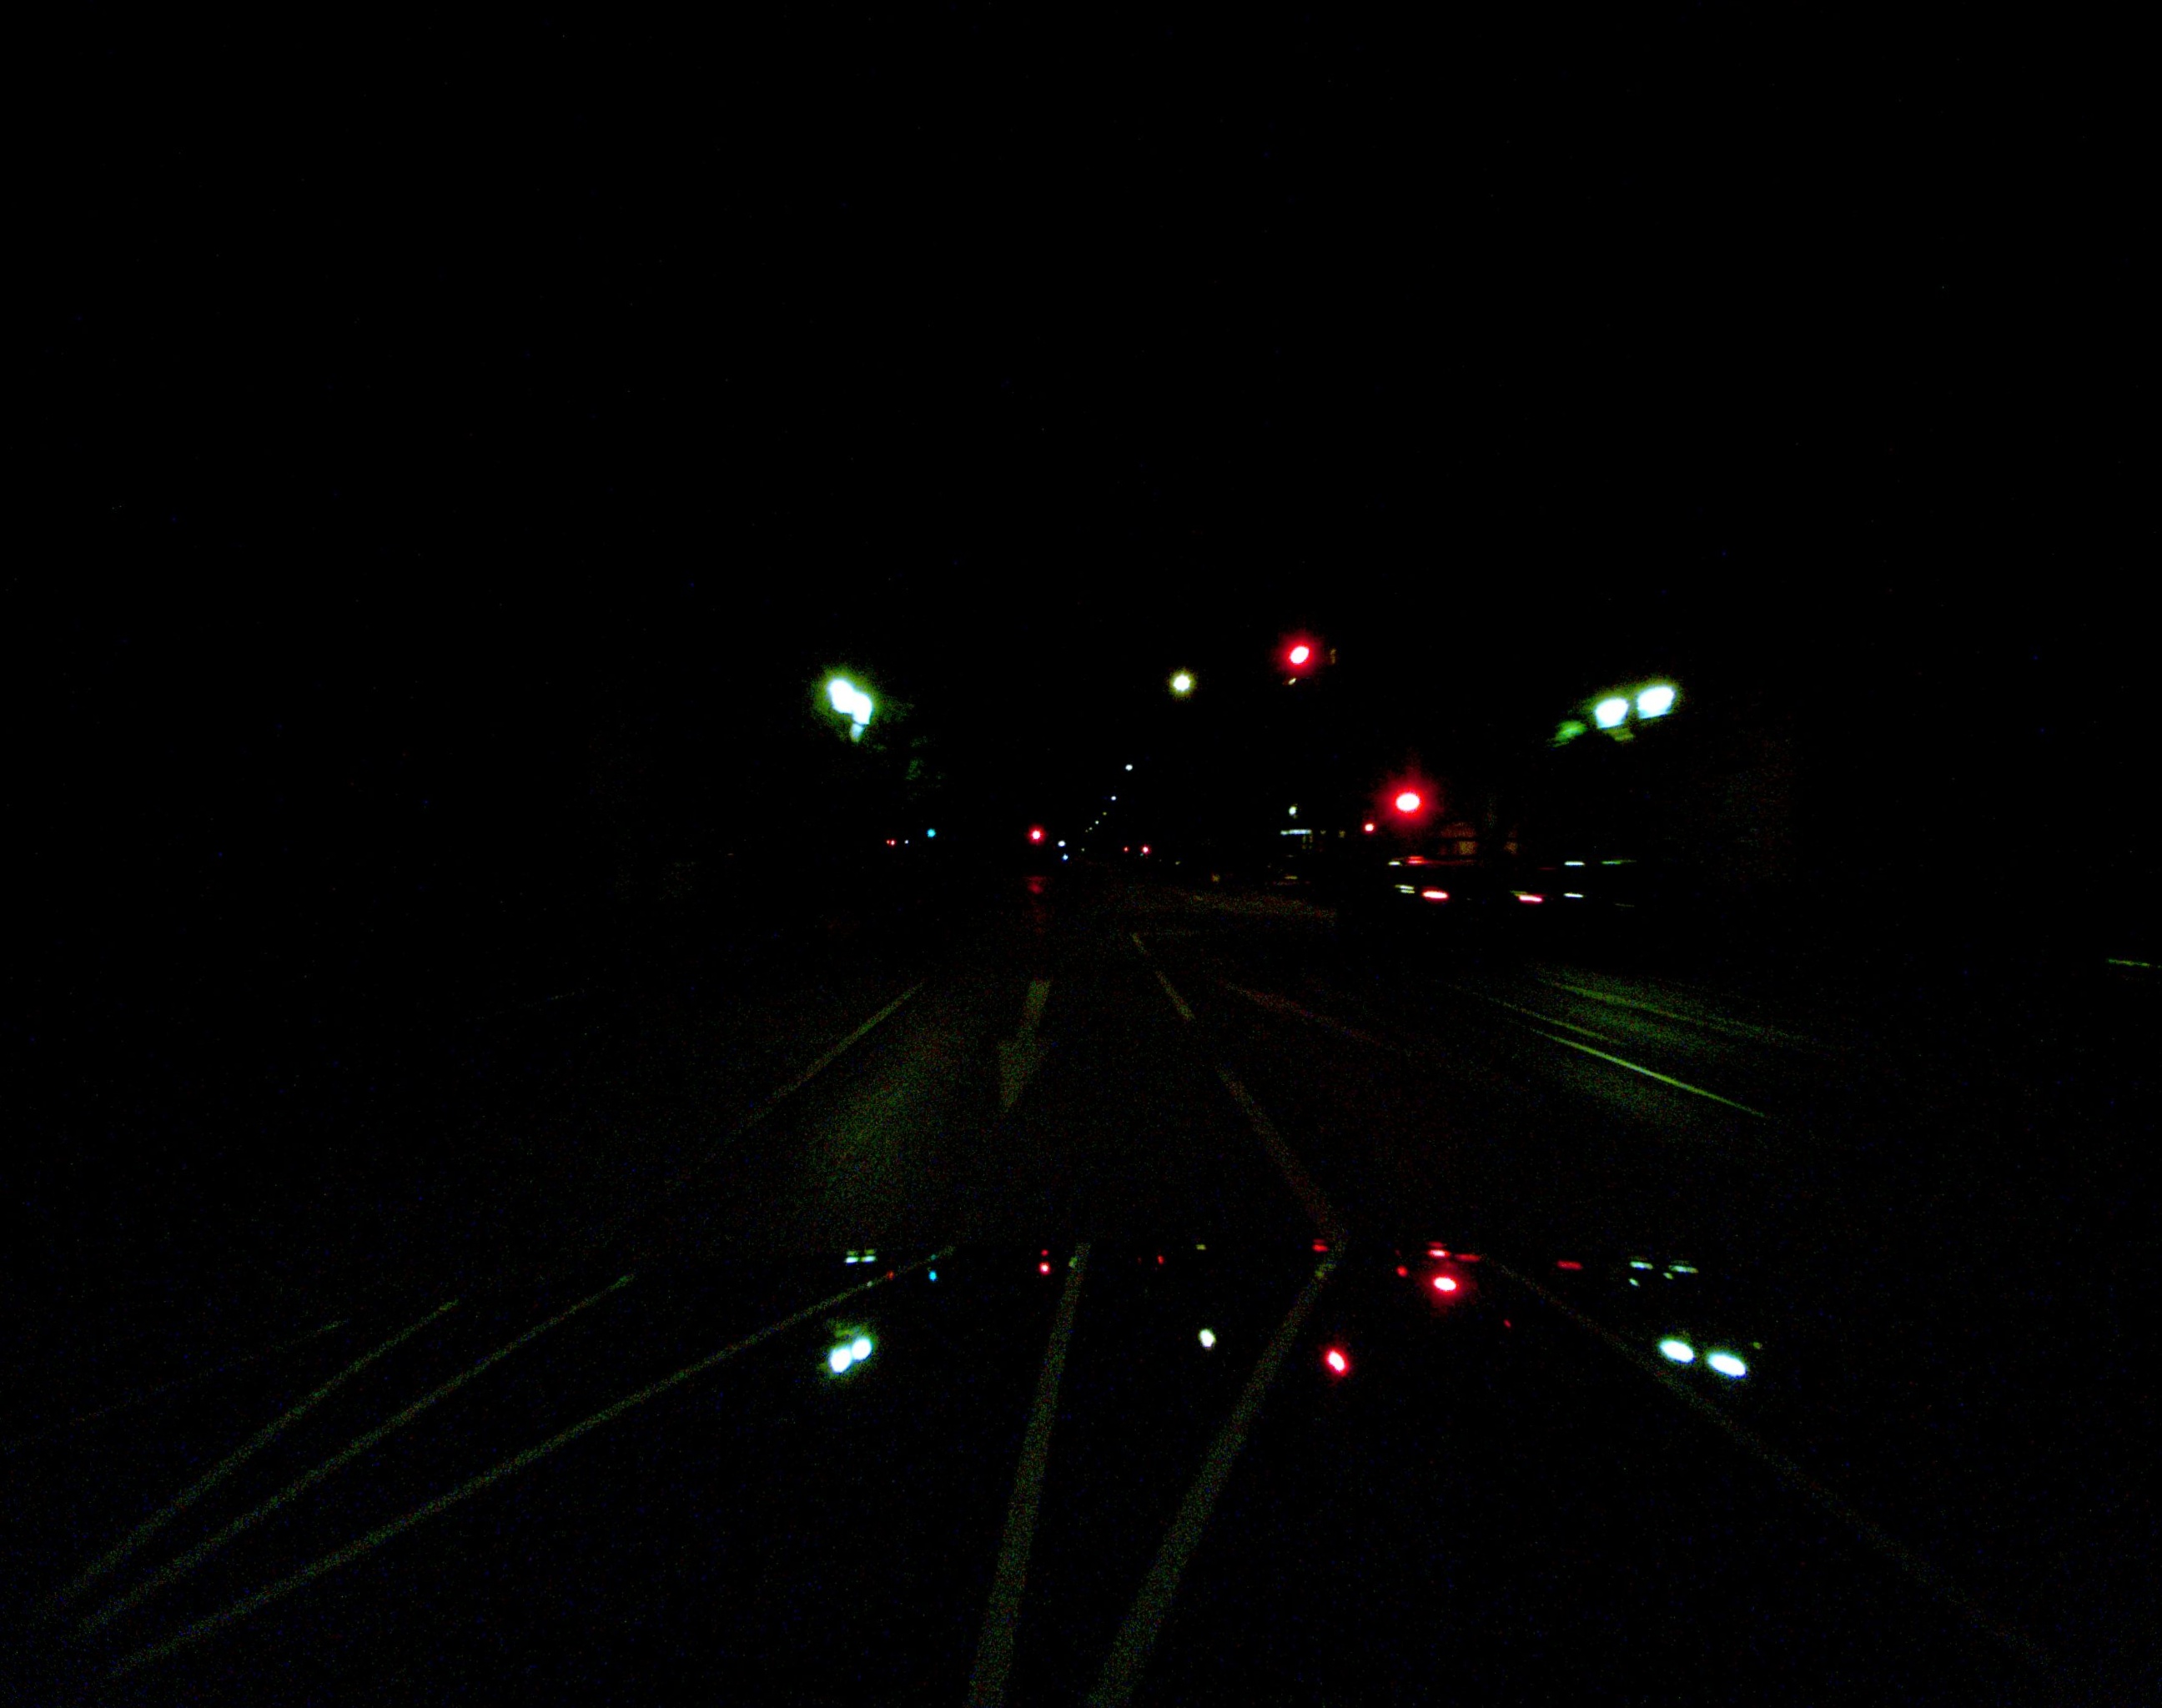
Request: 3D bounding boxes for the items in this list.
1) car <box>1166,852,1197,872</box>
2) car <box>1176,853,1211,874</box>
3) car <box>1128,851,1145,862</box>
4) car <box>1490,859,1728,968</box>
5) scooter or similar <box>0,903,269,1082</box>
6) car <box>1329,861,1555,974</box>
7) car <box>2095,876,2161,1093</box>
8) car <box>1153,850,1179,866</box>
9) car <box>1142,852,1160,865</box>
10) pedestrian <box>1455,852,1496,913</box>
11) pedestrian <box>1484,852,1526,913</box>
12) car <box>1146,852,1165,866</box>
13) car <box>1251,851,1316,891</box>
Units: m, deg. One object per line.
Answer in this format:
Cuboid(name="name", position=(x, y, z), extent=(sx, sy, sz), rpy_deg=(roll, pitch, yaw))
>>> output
Cuboid(name="car", position=(7.815, 0.584, 59.458), extent=(1.865, 1.470, 4.472), rpy_deg=(0, 0, 0))
Cuboid(name="car", position=(8.022, 0.640, 54.418), extent=(1.865, 1.425, 4.443), rpy_deg=(-1, 0, 0))
Cuboid(name="car", position=(7.461, 0.294, 102.421), extent=(1.633, 1.455, 3.513), rpy_deg=(2, 0, -4))
Cuboid(name="car", position=(8.521, 0.863, 12.693), extent=(1.596, 1.482, 3.700), rpy_deg=(-2, 0, 5))
Cuboid(name="scooter or similar", position=(-7.455, 0.998, 5.968), extent=(0.422, 1.124, 1.494), rpy_deg=(1, 0, 8))
Cuboid(name="car", position=(5.524, 0.870, 12.248), extent=(1.719, 1.421, 4.000), rpy_deg=(2, 0, 0))
Cuboid(name="car", position=(8.388, 0.893, 3.444), extent=(1.789, 1.482, 4.329), rpy_deg=(-2, 0, 0))
Cuboid(name="car", position=(8.113, 0.359, 72.720), extent=(1.866, 1.425, 4.402), rpy_deg=(0, 0, -2))
Cuboid(name="car", position=(7.882, 0.489, 85.557), extent=(1.642, 1.425, 4.349), rpy_deg=(-1, 0, 0))
Cuboid(name="pedestrian", position=(11.192, 0.789, 21.596), extent=(0.710, 1.680, 1.125), rpy_deg=(1, 1, 10))
Cuboid(name="pedestrian", position=(11.965, 0.788, 21.454), extent=(0.710, 1.680, 0.998), rpy_deg=(1, 1, 10))
Cuboid(name="car", position=(7.905, 0.514, 80.952), extent=(1.555, 1.425, 4.347), rpy_deg=(-1, 0, 0))
Cuboid(name="car", position=(8.837, 0.700, 33.520), extent=(1.890, 1.587, 4.024), rpy_deg=(-1, 0, 2))
